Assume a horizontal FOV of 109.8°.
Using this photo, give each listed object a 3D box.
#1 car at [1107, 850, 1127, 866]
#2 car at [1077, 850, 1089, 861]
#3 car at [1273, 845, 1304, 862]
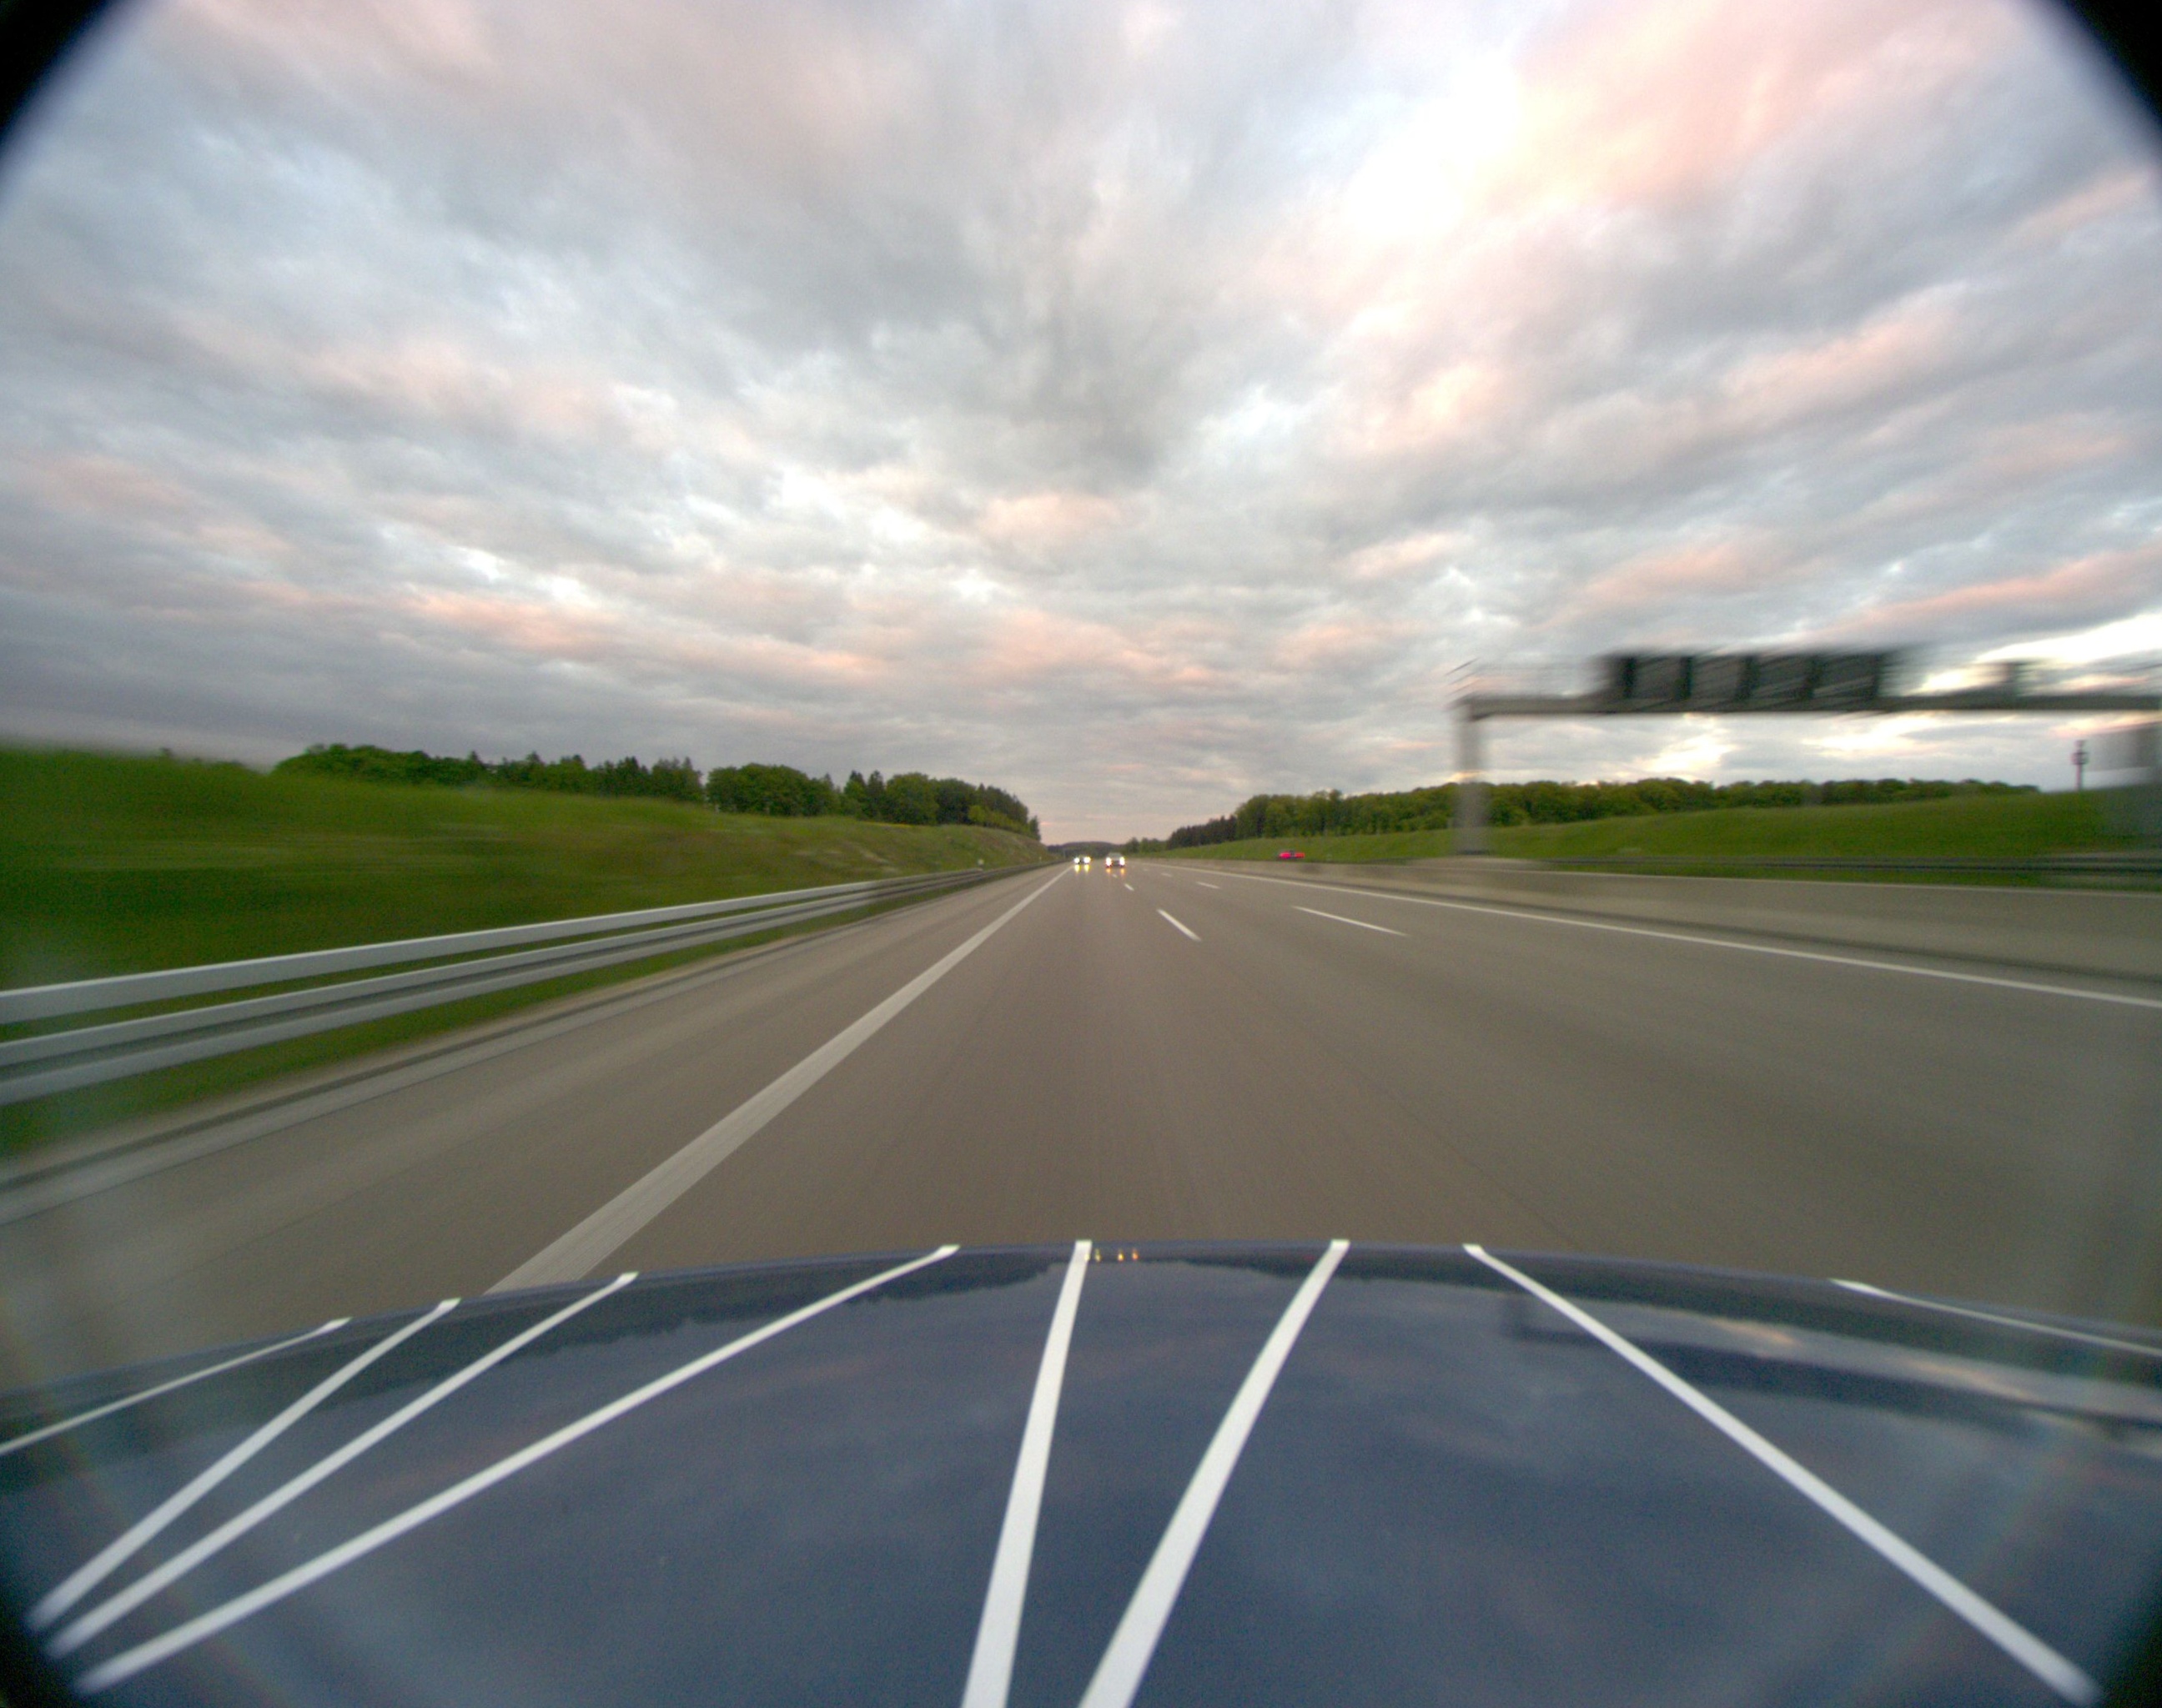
[{"bbox_3d":[3.937,0.412,83.934,1.857,1.683,5.511,-1,1,0],"label":"car"},{"bbox_3d":[0.379,0.267,121.798,1.801,1.674,4.384,-1,1,0],"label":"car"},{"bbox_3d":[23.403,-0.109,85.894,1.998,1.817,5.088,-1,0,0],"label":"car"}]
